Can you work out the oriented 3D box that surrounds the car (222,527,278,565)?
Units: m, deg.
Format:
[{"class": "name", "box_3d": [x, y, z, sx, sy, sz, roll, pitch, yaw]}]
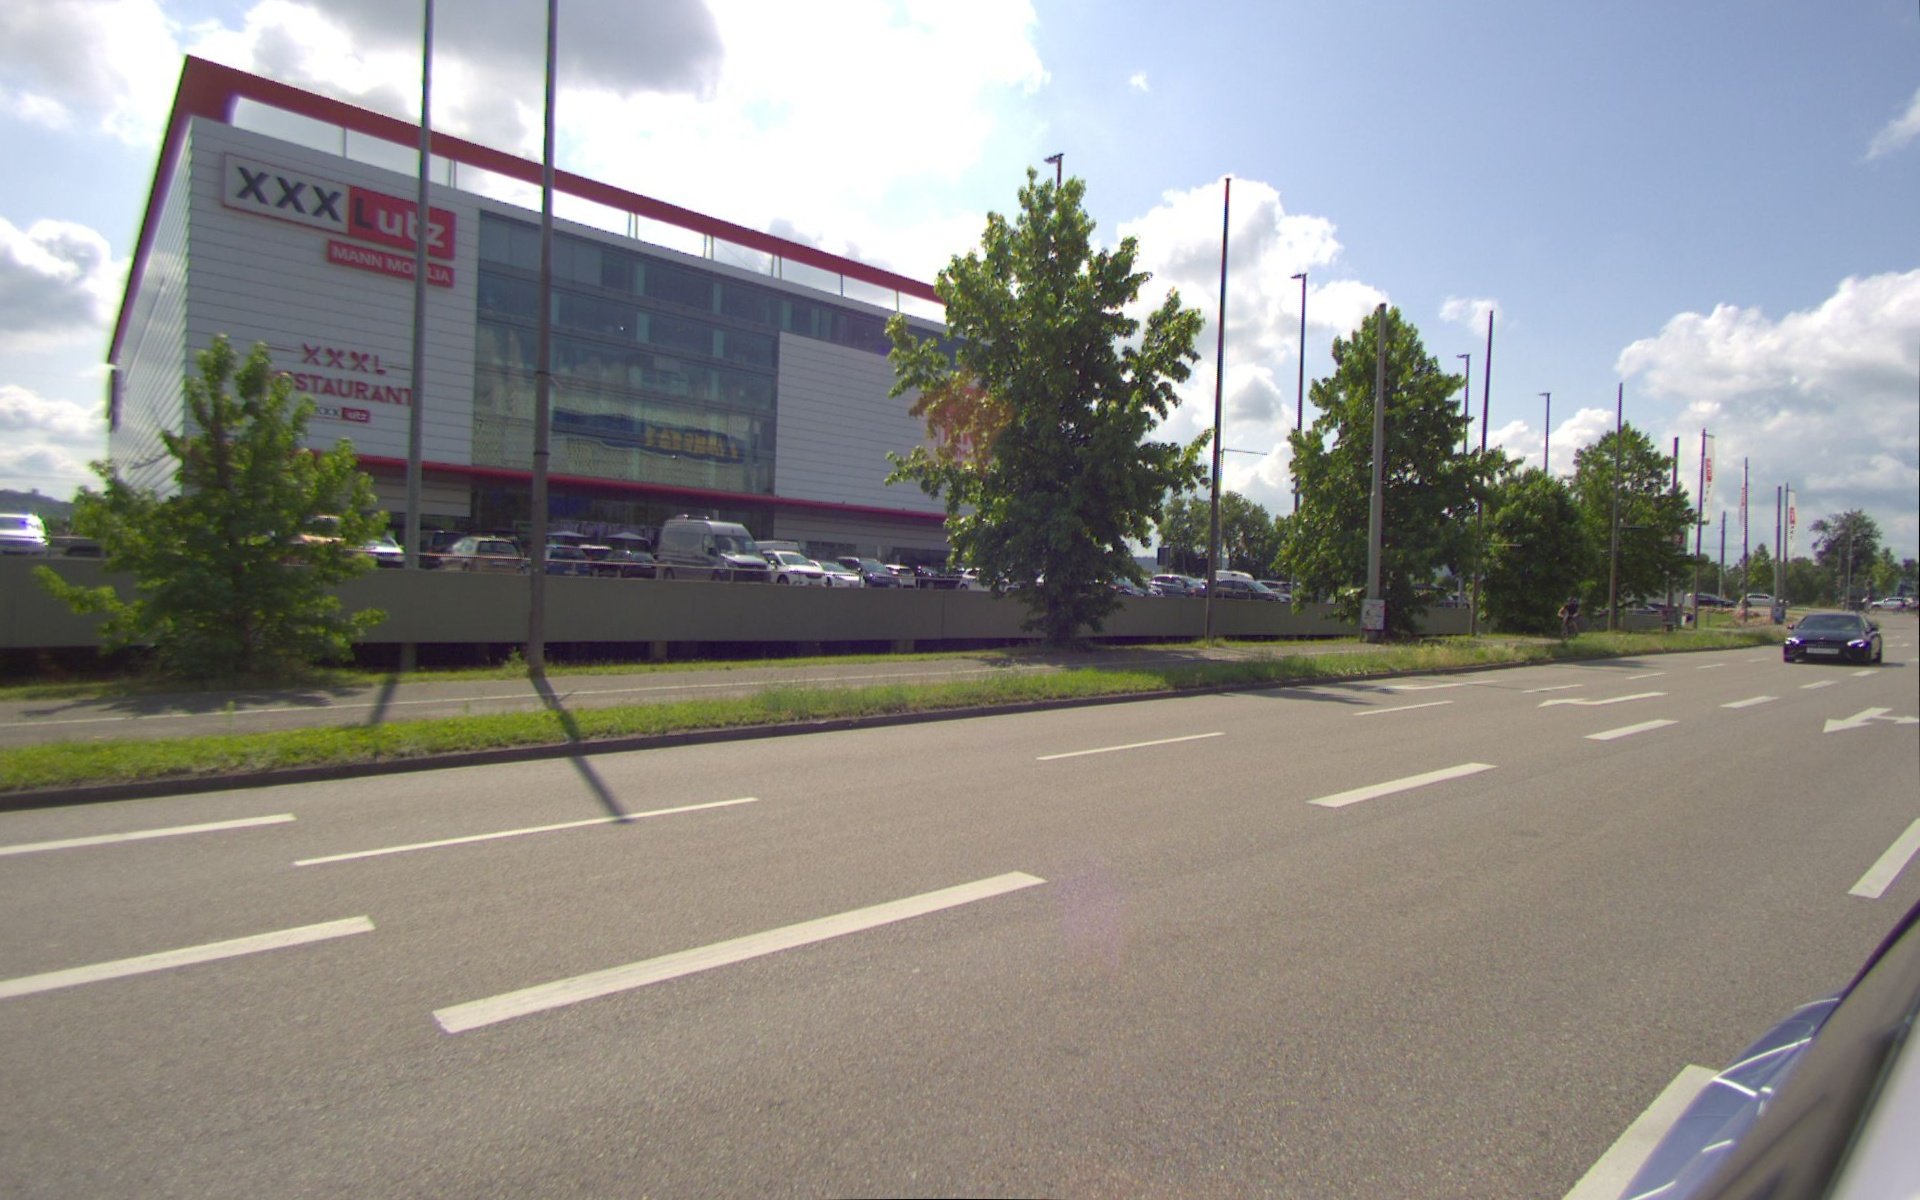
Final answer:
[{"class": "car", "box_3d": [-30.619, -2.296, 43.613, 1.557, 1.428, 3.531, 2, 0, -41]}]

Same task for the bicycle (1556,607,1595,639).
[{"class": "bicycle", "box_3d": [21.611, 0.804, 35.496, 1.934, 1.081, 0.624, 1, 1, -42]}]

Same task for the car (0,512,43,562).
[{"class": "car", "box_3d": [-33.143, -2.166, 35.160, 3.896, 1.595, 1.609, 1, 0, 43]}]

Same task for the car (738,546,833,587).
[{"class": "car", "box_3d": [-6.825, -1.266, 39.287, 1.718, 1.533, 3.990, 0, 1, -44]}]

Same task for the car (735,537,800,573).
[{"class": "car", "box_3d": [-11.428, -2.641, 59.931, 1.965, 1.976, 3.993, 2, 0, -42]}]

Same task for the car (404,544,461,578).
[{"class": "car", "box_3d": [-25.085, -1.837, 48.066, 1.557, 1.483, 3.531, 2, 0, -41]}]

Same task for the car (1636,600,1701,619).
[{"class": "car", "box_3d": [61.308, 0.803, 87.602, 1.765, 1.458, 4.366, 0, 1, -42]}]

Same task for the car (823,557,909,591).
[{"class": "car", "box_3d": [-4.453, -1.223, 47.686, 1.860, 1.452, 4.189, 2, 0, -43]}]

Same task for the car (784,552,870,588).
[{"class": "car", "box_3d": [-6.005, -1.357, 45.373, 1.697, 1.452, 4.190, 2, 2, -42]}]

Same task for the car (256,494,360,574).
[{"class": "car", "box_3d": [-20.683, -1.976, 32.000, 1.953, 2.223, 5.167, 0, 0, -42]}]

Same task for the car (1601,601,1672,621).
[{"class": "car", "box_3d": [53.798, 0.840, 80.498, 1.824, 1.495, 4.367, 0, 0, -40]}]

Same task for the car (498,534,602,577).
[{"class": "car", "box_3d": [-15.400, -1.610, 37.875, 1.954, 1.502, 4.871, 0, 1, -44]}]

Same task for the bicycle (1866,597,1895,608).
[{"class": "bicycle", "box_3d": [86.605, 0.256, 95.233, 1.955, 0.973, 0.595, 1, -1, 9]}]

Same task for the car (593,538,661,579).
[{"class": "car", "box_3d": [-16.281, -1.962, 49.368, 1.744, 1.861, 3.890, 2, 0, -42]}]

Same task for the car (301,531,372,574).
[{"class": "car", "box_3d": [-25.000, -1.859, 40.528, 1.608, 1.595, 3.899, 2, 0, -44]}]

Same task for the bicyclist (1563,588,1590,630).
[{"class": "bicyclist", "box_3d": [21.636, 0.323, 35.510, 0.702, 1.430, 0.616, 1, 0, -42]}]

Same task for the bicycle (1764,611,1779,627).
[{"class": "bicycle", "box_3d": [51.556, 1.200, 64.287, 1.518, 0.964, 0.517, 0, 1, -43]}]

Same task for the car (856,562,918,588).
[{"class": "car", "box_3d": [-4.409, -1.467, 60.963, 1.601, 1.438, 3.992, 2, -1, -42]}]

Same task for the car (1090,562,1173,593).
[{"class": "car", "box_3d": [9.098, -1.164, 53.790, 1.967, 1.590, 3.990, 0, 1, -44]}]

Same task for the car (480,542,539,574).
[{"class": "car", "box_3d": [-22.617, -2.081, 50.742, 1.607, 1.461, 3.902, 2, 0, -41]}]

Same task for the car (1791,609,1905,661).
[{"class": "car", "box_3d": [24.799, 0.925, 28.235, 4.088, 1.335, 1.796, 0, 0, -40]}]

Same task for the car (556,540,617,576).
[{"class": "car", "box_3d": [-19.755, -2.186, 53.517, 1.719, 1.727, 3.746, 2, 0, -42]}]

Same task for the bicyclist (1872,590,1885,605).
[{"class": "bicyclist", "box_3d": [86.502, -0.228, 95.262, 0.676, 1.342, 0.591, 1, -1, 10]}]

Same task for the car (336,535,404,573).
[{"class": "car", "box_3d": [-27.257, -2.094, 46.687, 1.965, 1.563, 3.994, 2, 0, -41]}]

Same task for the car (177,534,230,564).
[{"class": "car", "box_3d": [-34.331, -2.290, 45.884, 1.665, 1.199, 3.904, 2, 0, -40]}]

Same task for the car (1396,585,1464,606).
[{"class": "car", "box_3d": [36.171, -0.383, 77.924, 1.814, 1.379, 4.369, 0, 3, -40]}]

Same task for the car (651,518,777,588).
[{"class": "car", "box_3d": [-9.309, -1.685, 37.938, 2.027, 2.396, 5.663, 0, 1, -44]}]

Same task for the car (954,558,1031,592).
[{"class": "car", "box_3d": [1.728, -1.317, 54.633, 1.965, 1.742, 3.993, 2, 0, -41]}]

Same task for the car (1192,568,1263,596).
[{"class": "car", "box_3d": [31.734, -2.141, 120.516, 3.066, 3.193, 7.898, 0, 2, -39]}]

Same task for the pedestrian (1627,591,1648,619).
[{"class": "pedestrian", "box_3d": [45.455, 0.342, 67.870, 0.855, 1.805, 0.784, 1, -1, -1]}]

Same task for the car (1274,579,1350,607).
[{"class": "car", "box_3d": [22.327, -0.435, 64.285, 1.735, 1.572, 4.187, 2, 2, -43]}]

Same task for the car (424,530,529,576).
[{"class": "car", "box_3d": [-17.158, -1.613, 35.818, 1.954, 1.472, 4.871, 0, 1, -44]}]

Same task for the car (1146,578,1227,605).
[{"class": "car", "box_3d": [12.662, -0.477, 56.782, 1.659, 1.341, 4.190, 1, 2, -42]}]

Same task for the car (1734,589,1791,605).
[{"class": "car", "box_3d": [84.410, -0.320, 106.492, 1.981, 1.430, 4.485, 0, 2, -45]}]
